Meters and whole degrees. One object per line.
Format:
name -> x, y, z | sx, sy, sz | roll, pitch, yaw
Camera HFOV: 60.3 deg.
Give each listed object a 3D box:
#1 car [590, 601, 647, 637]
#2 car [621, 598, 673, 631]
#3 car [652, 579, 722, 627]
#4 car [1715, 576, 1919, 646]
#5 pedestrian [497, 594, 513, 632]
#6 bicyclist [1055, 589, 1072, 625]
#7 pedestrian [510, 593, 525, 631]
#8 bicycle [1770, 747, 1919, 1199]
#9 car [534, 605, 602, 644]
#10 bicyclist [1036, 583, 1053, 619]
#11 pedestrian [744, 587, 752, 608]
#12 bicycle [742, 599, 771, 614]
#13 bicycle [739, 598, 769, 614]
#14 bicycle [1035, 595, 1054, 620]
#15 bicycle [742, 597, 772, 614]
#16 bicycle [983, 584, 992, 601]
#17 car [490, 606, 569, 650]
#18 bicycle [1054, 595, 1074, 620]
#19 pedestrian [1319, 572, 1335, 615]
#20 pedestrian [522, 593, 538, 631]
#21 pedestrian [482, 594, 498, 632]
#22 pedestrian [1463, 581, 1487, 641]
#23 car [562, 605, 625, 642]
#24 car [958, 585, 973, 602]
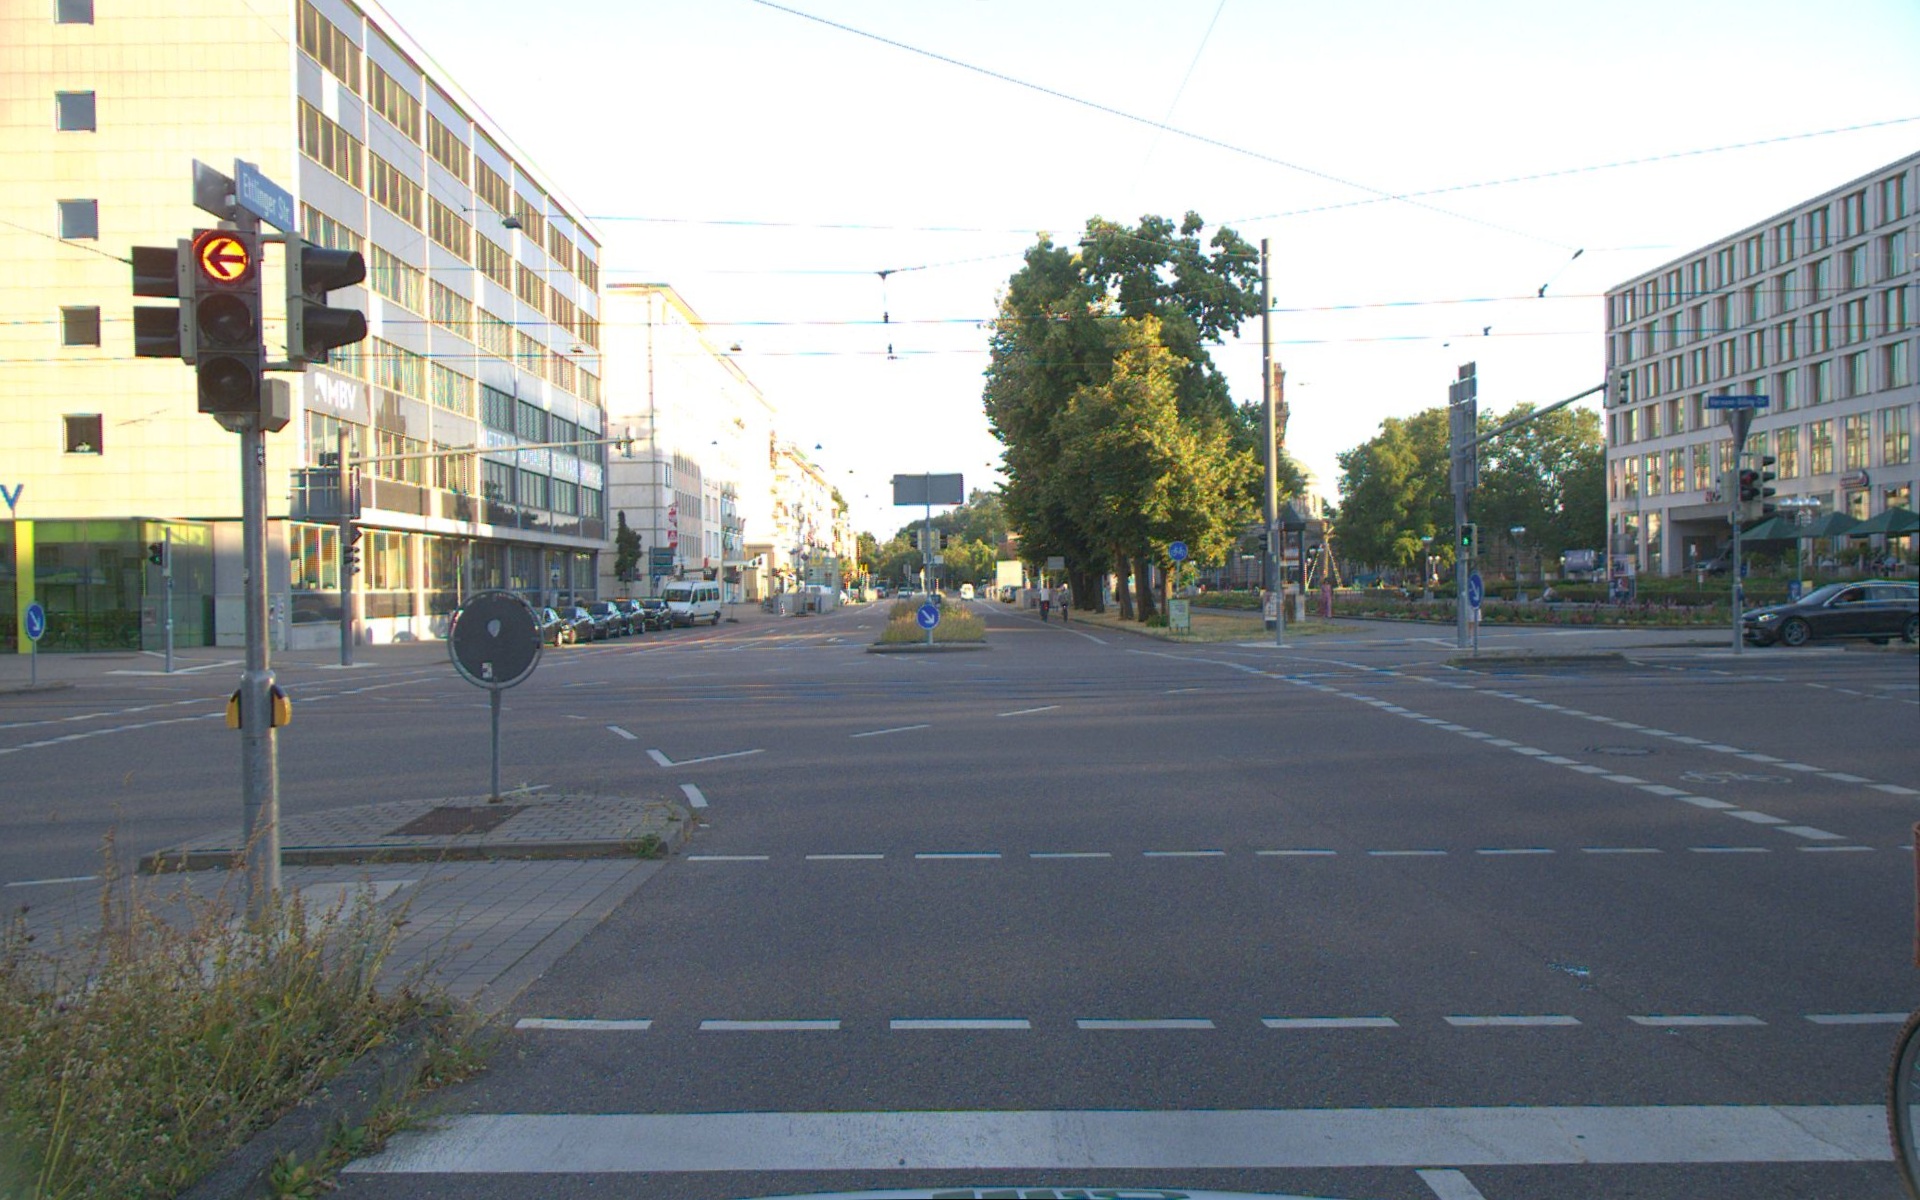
car -> -16.132, 0.880, 78.283 | 1.882, 1.595, 3.999 | -1, 0, -1
car -> -15.958, 0.731, 84.514 | 1.882, 1.595, 3.999 | -1, 0, -1
car -> -14.940, 0.143, 90.990 | 1.958, 2.521, 5.873 | -1, 0, 9
car -> 21.052, 0.244, 39.924 | 4.724, 1.542, 2.000 | -1, 0, 1
pedestrian -> -20.653, 0.567, 75.027 | 0.540, 1.708, 0.500 | -1, 0, -1
bicyclist -> 5.024, 0.335, 80.014 | 0.731, 1.720, 0.799 | -1, 0, -1
pedestrian -> -20.069, 0.542, 75.041 | 0.490, 1.708, 0.500 | -1, 0, -1
bicycle -> 2.181, 0.923, 2.814 | 0.599, 1.152, 2.004 | 1, 0, -1
car -> -16.116, 0.991, 68.165 | 1.882, 1.489, 3.999 | -1, 0, -1
bicyclist -> 4.090, 0.052, 79.937 | 0.731, 1.692, 0.873 | -1, 0, -1
pedestrian -> -21.082, -0.232, 164.443 | 0.666, 2.049, 0.545 | -1, 0, -1
bicycle -> -15.574, 0.510, 126.729 | 2.161, 1.131, 0.689 | -1, 0, -2
bicycle -> -15.585, 0.464, 125.208 | 2.161, 1.131, 0.618 | -1, 0, -3
bicycle -> 4.088, 0.340, 80.160 | 0.731, 1.164, 2.505 | -1, 0, -1
bicycle -> -15.791, 0.437, 128.622 | 2.161, 1.258, 0.839 | -1, 0, -2
bicycle -> 3.460, -0.972, 208.693 | 0.981, 2.049, 4.002 | -1, 0, 3
car -> -16.007, 1.031, 61.670 | 1.882, 1.489, 4.102 | -1, 0, -1
bicycle -> 5.028, 0.335, 80.004 | 0.731, 1.164, 2.505 | -1, 0, -1
pedestrian -> 14.648, -0.256, 66.050 | 0.451, 1.685, 0.566 | -1, 0, -1
pedestrian -> -19.375, 0.527, 74.561 | 0.540, 1.708, 0.500 | -1, 0, -1
pedestrian -> -21.161, 0.589, 74.482 | 0.540, 1.708, 0.500 | -1, 0, -1
pedestrian -> 13.631, 0.280, 43.774 | 0.480, 1.566, 0.408 | -1, 0, -1
car -> -16.136, 1.011, 72.979 | 1.882, 1.489, 3.999 | -1, 0, -1
car -> 0.540, -0.691, 173.563 | 1.379, 1.670, 3.998 | -1, 0, -2
